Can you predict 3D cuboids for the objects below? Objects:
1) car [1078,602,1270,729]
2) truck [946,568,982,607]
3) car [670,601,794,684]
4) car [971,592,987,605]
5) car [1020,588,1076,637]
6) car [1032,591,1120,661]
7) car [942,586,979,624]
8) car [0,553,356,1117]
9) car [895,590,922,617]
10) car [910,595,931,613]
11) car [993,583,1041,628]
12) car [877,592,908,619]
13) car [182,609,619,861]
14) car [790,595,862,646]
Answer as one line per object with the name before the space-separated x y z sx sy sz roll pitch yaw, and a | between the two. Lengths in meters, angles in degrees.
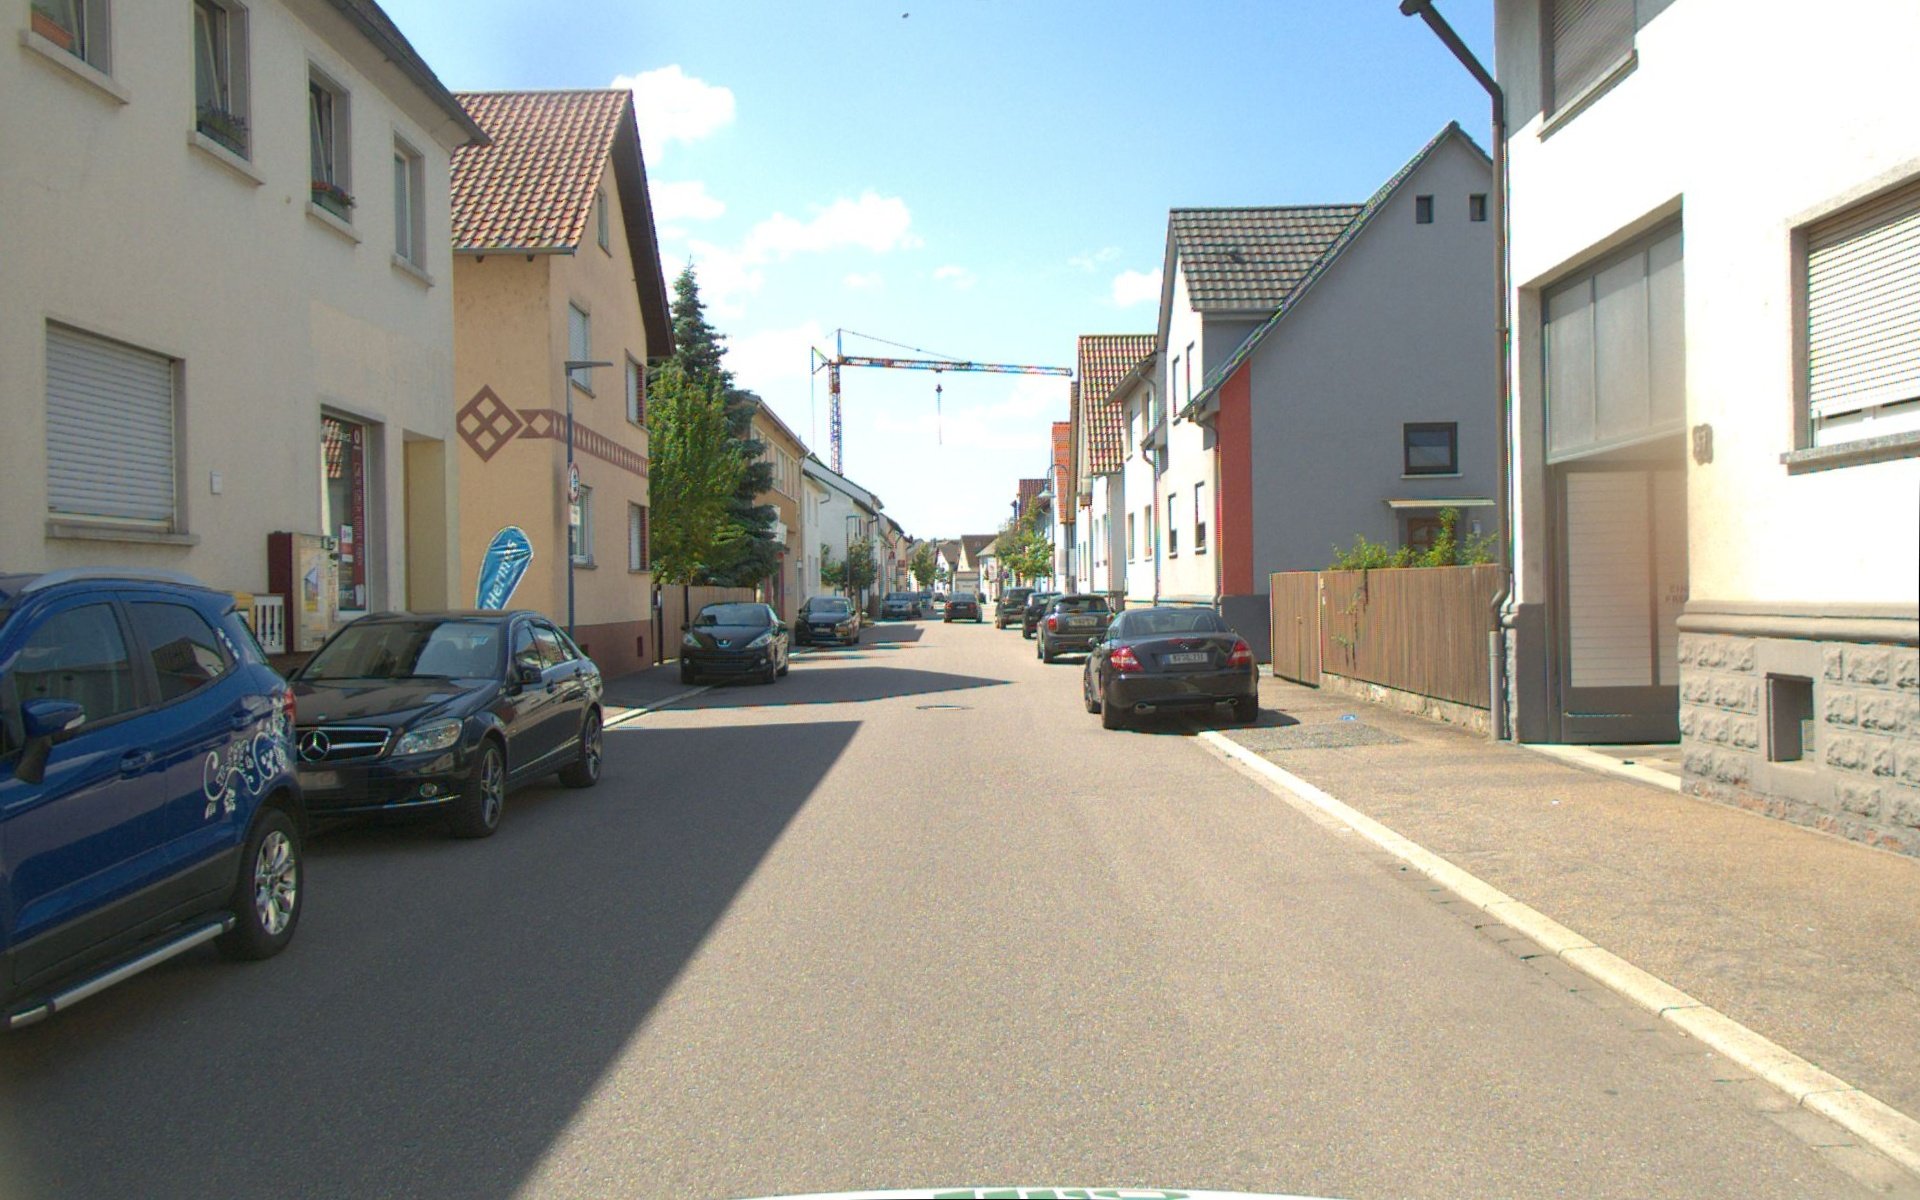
car | 2.433 0.704 19.735 1.778 1.298 4.147 -1 0 1
truck | 0.358 -1.276 177.866 3.311 3.933 13.922 -2 0 -1
car | -4.098 0.732 30.308 1.725 1.398 4.066 0 0 0
car | 2.395 -0.212 206.599 1.747 1.591 4.335 -2 0 -2
car | 2.947 0.392 56.151 1.584 1.521 3.971 -4 0 0
car | 2.506 0.536 36.401 1.654 1.447 3.657 -1 0 0
car | -0.012 0.249 83.131 1.746 1.784 3.999 -2 0 -1
car | -3.729 0.728 5.831 1.682 1.668 4.148 -3 0 -1
car | -3.311 0.213 107.296 1.619 1.637 4.060 -1 0 -1
car | -3.505 0.371 146.810 1.687 1.583 4.172 0 0 1
car | 2.330 0.213 68.702 1.694 1.747 4.274 -1 0 -2
car | -4.070 0.308 100.508 1.722 1.551 4.288 -1 0 -1
car | -3.786 0.815 12.043 1.663 1.436 4.390 -1 0 0
car | -4.106 0.591 51.194 1.731 1.485 4.437 -1 0 2
